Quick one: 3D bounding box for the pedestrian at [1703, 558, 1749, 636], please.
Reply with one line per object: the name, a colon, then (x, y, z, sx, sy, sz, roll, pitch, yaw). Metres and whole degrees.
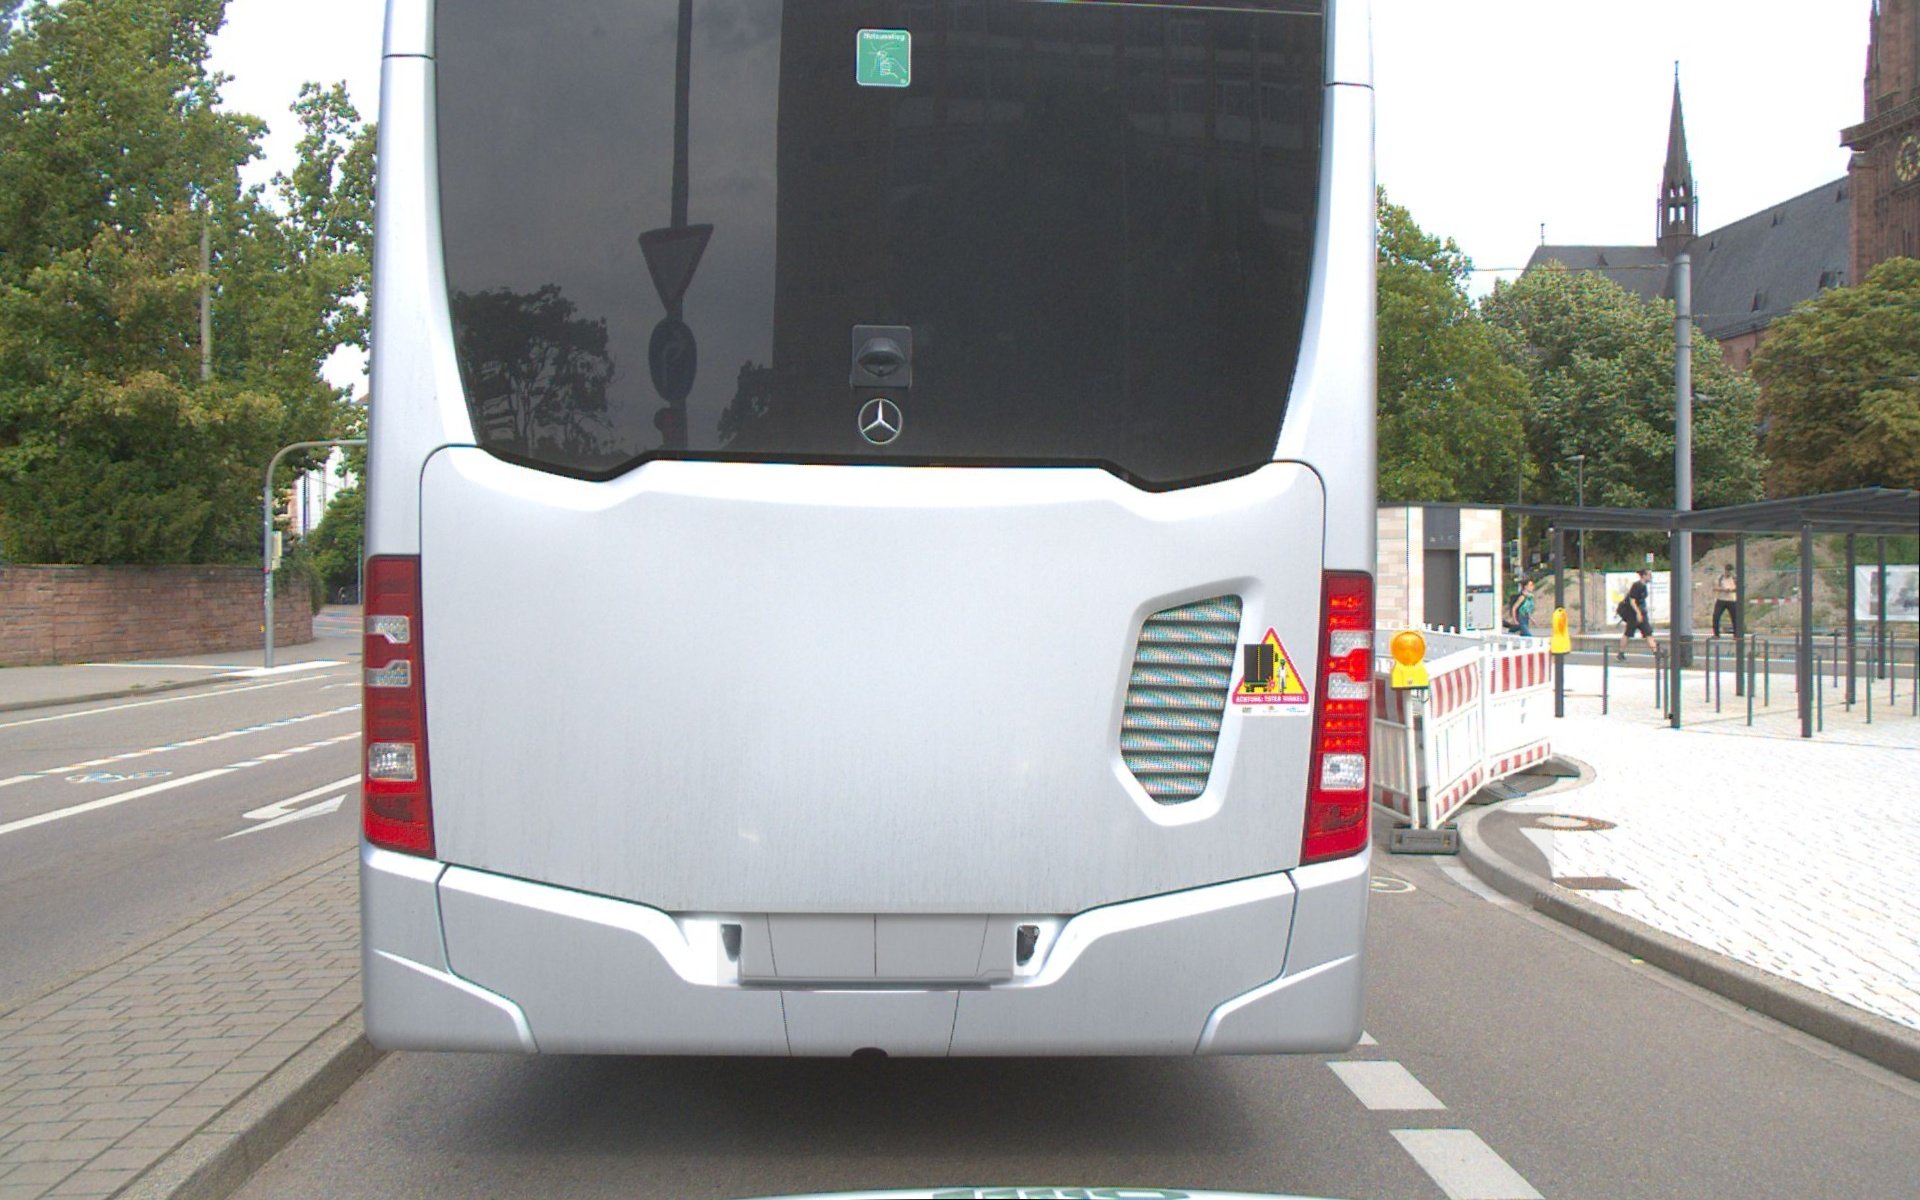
pedestrian: (18.338, -0.088, 39.601, 0.803, 1.832, 0.753, 0, 3, 9)

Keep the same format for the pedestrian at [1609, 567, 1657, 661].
pedestrian: (12.290, 0.245, 30.197, 0.526, 1.683, 0.621, -2, 3, -38)

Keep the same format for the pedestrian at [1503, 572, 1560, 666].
pedestrian: (10.250, 0.329, 29.666, 0.533, 1.631, 0.787, -2, 3, -38)

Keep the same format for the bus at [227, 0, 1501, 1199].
bus: (-0.282, -0.395, 10.543, 2.649, 3.498, 14.181, 0, 0, -1)
